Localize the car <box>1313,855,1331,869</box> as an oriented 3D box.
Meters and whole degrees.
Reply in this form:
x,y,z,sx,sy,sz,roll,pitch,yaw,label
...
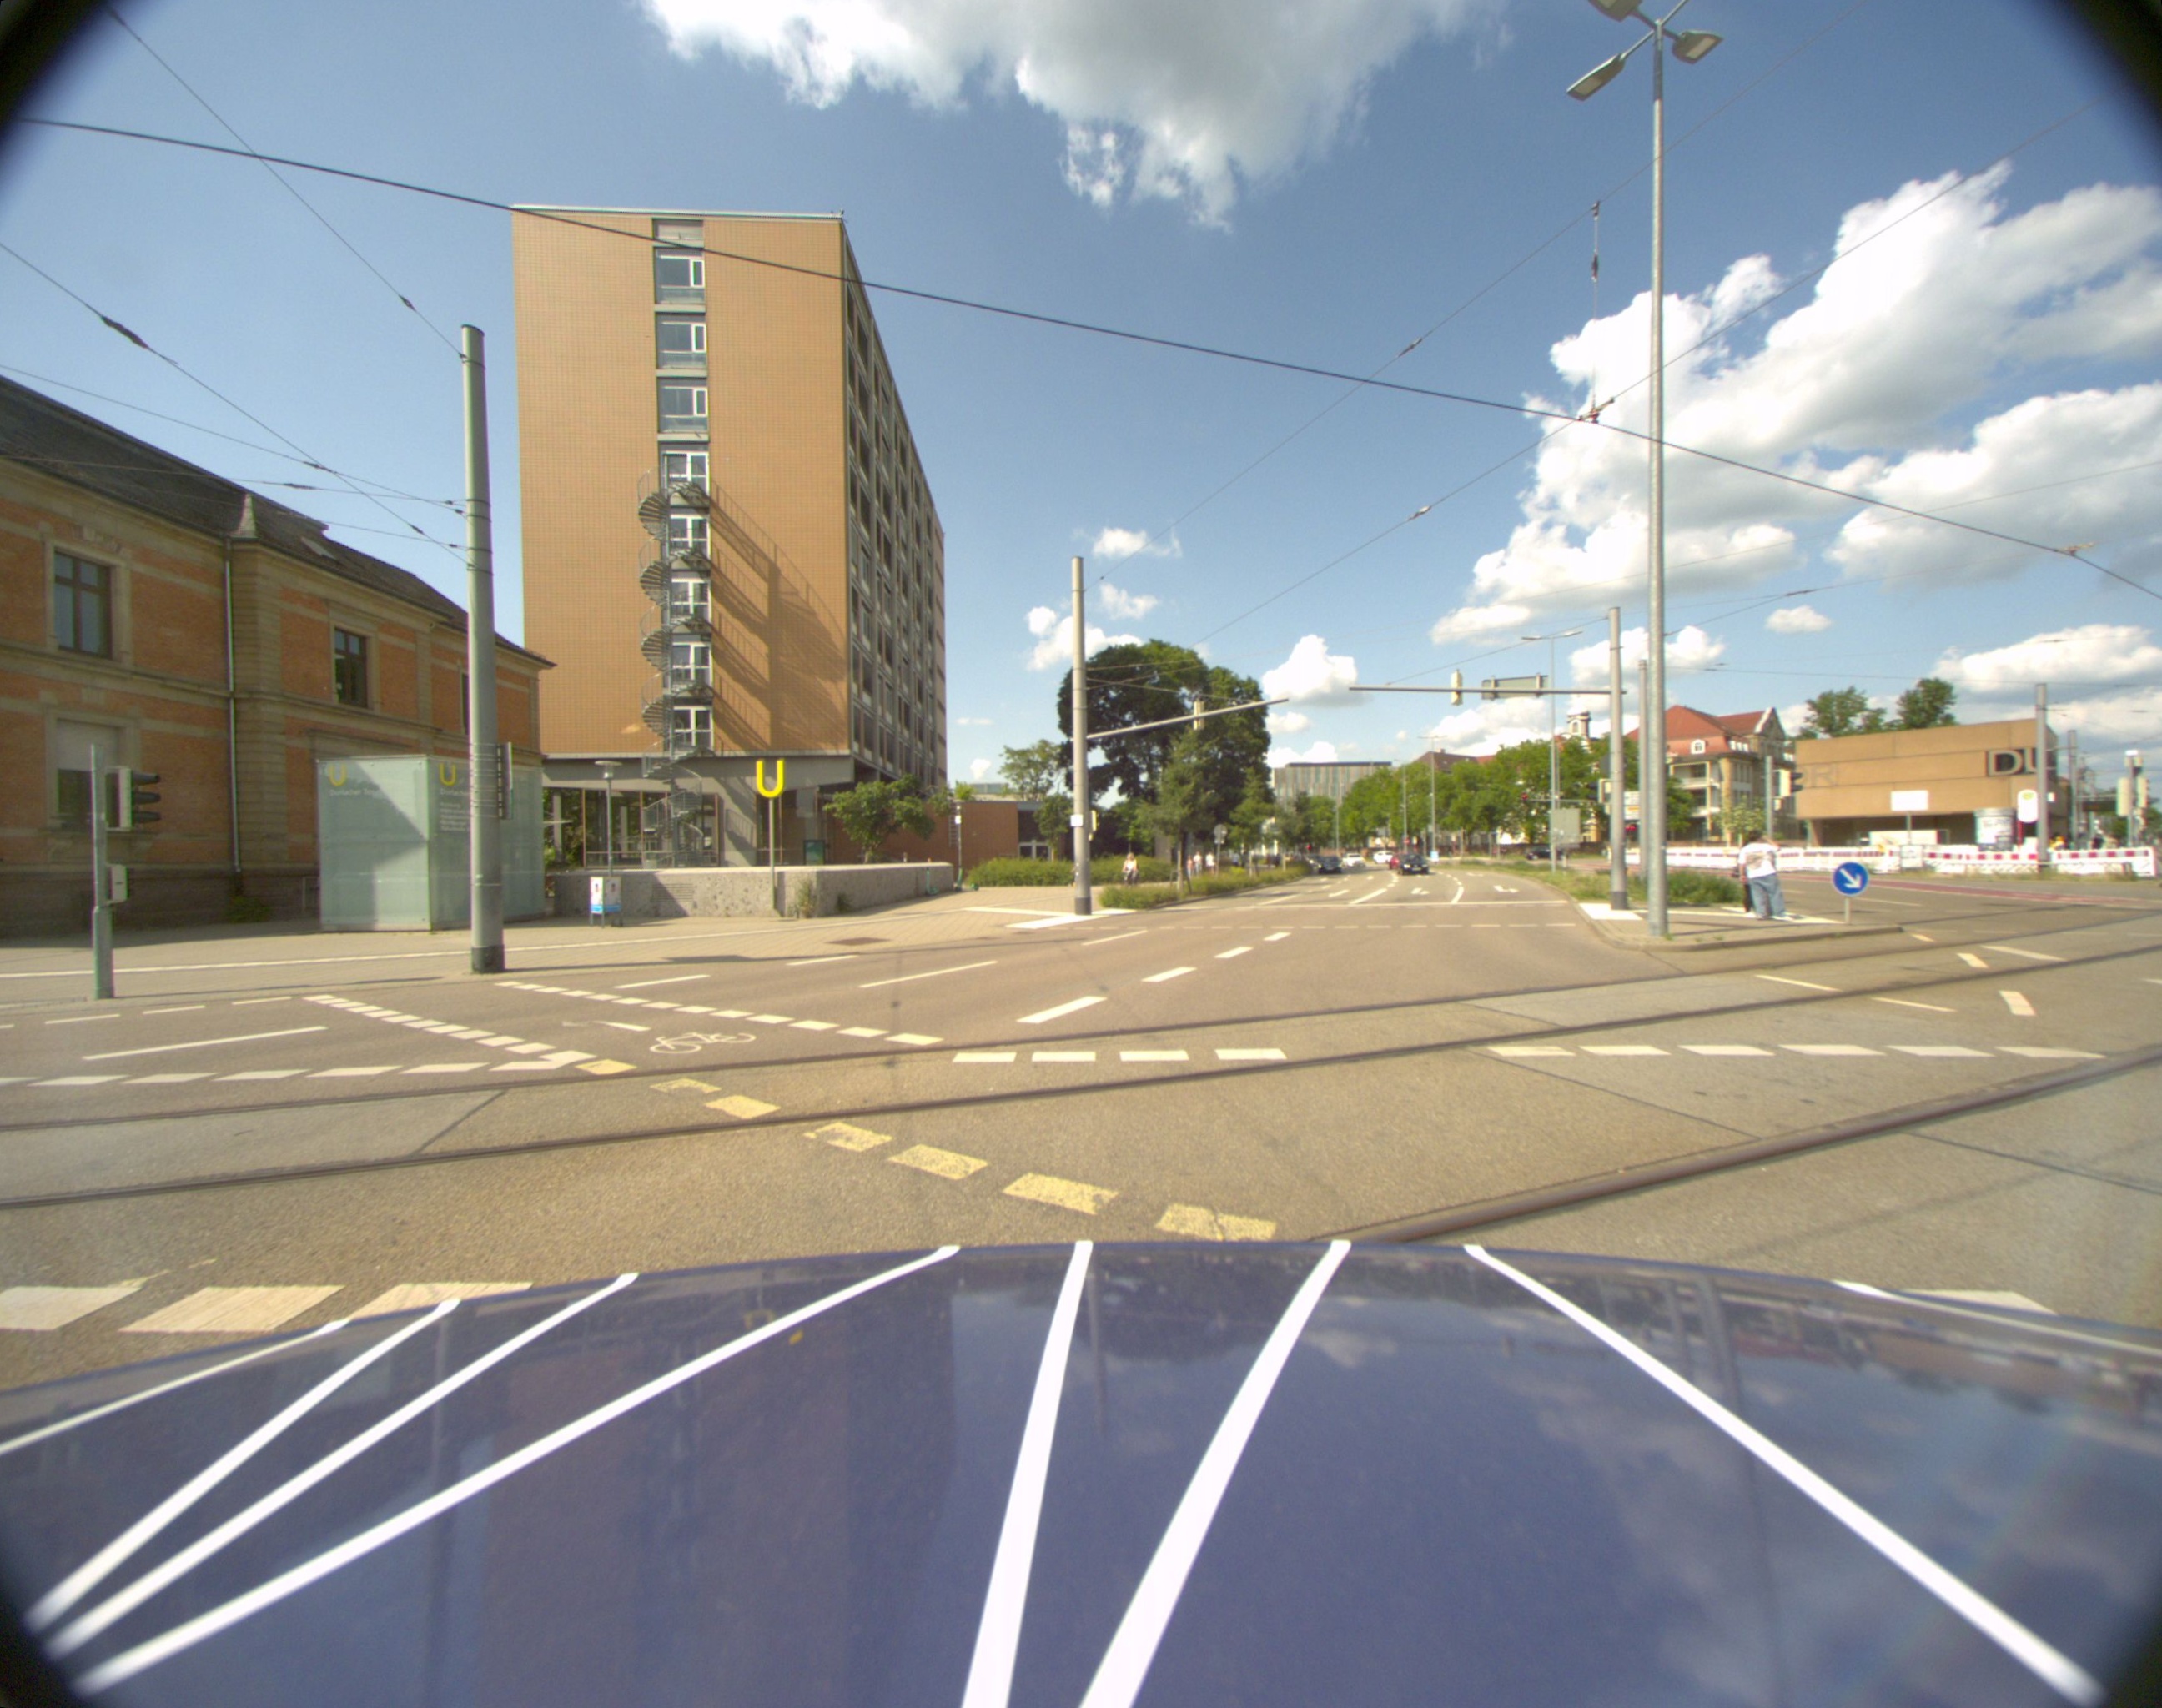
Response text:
x,y,z,sx,sy,sz,roll,pitch,yaw,label
27.765,0.878,87.478,1.823,1.454,4.005,-1,0,18,car

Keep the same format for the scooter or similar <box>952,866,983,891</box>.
x,y,z,sx,sy,sz,roll,pitch,yaw,label
-5.124,1.090,34.391,1.320,1.097,0.465,0,1,-22,scooter or similar

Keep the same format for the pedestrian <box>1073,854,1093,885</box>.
x,y,z,sx,sy,sz,roll,pitch,yaw,label
0.085,0.807,40.280,0.890,1.613,0.614,0,2,-18,pedestrian

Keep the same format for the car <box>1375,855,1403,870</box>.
x,y,z,sx,sy,sz,roll,pitch,yaw,label
26.120,0.713,64.536,1.595,1.127,3.633,-3,0,14,car

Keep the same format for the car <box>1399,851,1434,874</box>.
x,y,z,sx,sy,sz,roll,pitch,yaw,label
22.894,0.571,51.783,1.822,1.454,4.007,-1,0,28,car

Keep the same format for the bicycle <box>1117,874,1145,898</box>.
x,y,z,sx,sy,sz,roll,pitch,yaw,label
2.098,1.305,31.720,0.647,0.875,1.825,-3,0,20,bicycle

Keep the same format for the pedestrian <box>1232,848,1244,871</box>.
x,y,z,sx,sy,sz,roll,pitch,yaw,label
12.253,0.430,59.316,0.743,1.736,0.890,2,2,18,pedestrian

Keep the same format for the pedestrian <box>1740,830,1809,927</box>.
x,y,z,sx,sy,sz,roll,pitch,yaw,label
14.021,0.476,15.387,0.848,1.906,0.693,0,2,23,pedestrian

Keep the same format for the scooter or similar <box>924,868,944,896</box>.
x,y,z,sx,sy,sz,roll,pitch,yaw,label
-6.043,1.133,31.244,0.465,1.111,1.447,0,0,4,scooter or similar

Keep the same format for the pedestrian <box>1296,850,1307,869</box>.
x,y,z,sx,sy,sz,roll,pitch,yaw,label
21.048,0.533,72.559,0.926,1.724,0.769,-2,0,21,pedestrian

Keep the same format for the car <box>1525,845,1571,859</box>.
x,y,z,sx,sy,sz,roll,pitch,yaw,label
48.251,-0.214,78.607,3.781,1.327,1.736,-2,0,21,car

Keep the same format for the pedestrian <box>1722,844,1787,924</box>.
x,y,z,sx,sy,sz,roll,pitch,yaw,label
14.236,0.613,16.090,0.848,1.638,0.693,0,2,23,pedestrian

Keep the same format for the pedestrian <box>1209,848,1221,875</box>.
x,y,z,sx,sy,sz,roll,pitch,yaw,label
8.668,0.478,49.109,0.614,1.690,0.890,2,2,18,pedestrian

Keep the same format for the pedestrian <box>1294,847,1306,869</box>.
x,y,z,sx,sy,sz,roll,pitch,yaw,label
20.225,0.391,70.095,0.963,2.002,0.769,-2,1,21,pedestrian

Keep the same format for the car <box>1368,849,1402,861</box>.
x,y,z,sx,sy,sz,roll,pitch,yaw,label
36.377,0.088,90.923,1.780,1.346,3.996,-2,0,-12,car

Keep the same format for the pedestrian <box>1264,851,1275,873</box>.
x,y,z,sx,sy,sz,roll,pitch,yaw,label
15.404,0.671,62.106,0.767,1.724,0.720,-3,0,15,pedestrian

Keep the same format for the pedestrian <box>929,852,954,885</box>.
x,y,z,sx,sy,sz,roll,pitch,yaw,label
-6.921,0.700,37.666,1.097,1.613,0.614,0,2,-19,pedestrian

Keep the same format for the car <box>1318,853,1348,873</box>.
x,y,z,sx,sy,sz,roll,pitch,yaw,label
20.363,0.696,61.306,1.822,1.454,4.007,-1,0,24,car

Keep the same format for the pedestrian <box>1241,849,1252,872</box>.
x,y,z,sx,sy,sz,roll,pitch,yaw,label
12.831,0.468,58.903,0.743,1.744,0.890,2,2,17,pedestrian

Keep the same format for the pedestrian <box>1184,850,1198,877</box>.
x,y,z,sx,sy,sz,roll,pitch,yaw,label
6.695,0.580,46.169,0.614,1.613,0.891,2,2,20,pedestrian

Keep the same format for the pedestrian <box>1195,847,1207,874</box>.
x,y,z,sx,sy,sz,roll,pitch,yaw,label
7.787,0.422,49.341,0.614,1.690,0.890,2,2,18,pedestrian

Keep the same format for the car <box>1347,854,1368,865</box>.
x,y,z,sx,sy,sz,roll,pitch,yaw,label
29.722,0.588,81.810,1.906,1.127,4.107,-2,0,18,car

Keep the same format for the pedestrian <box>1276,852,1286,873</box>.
x,y,z,sx,sy,sz,roll,pitch,yaw,label
16.434,0.686,62.380,0.767,1.724,0.720,-3,0,15,pedestrian
